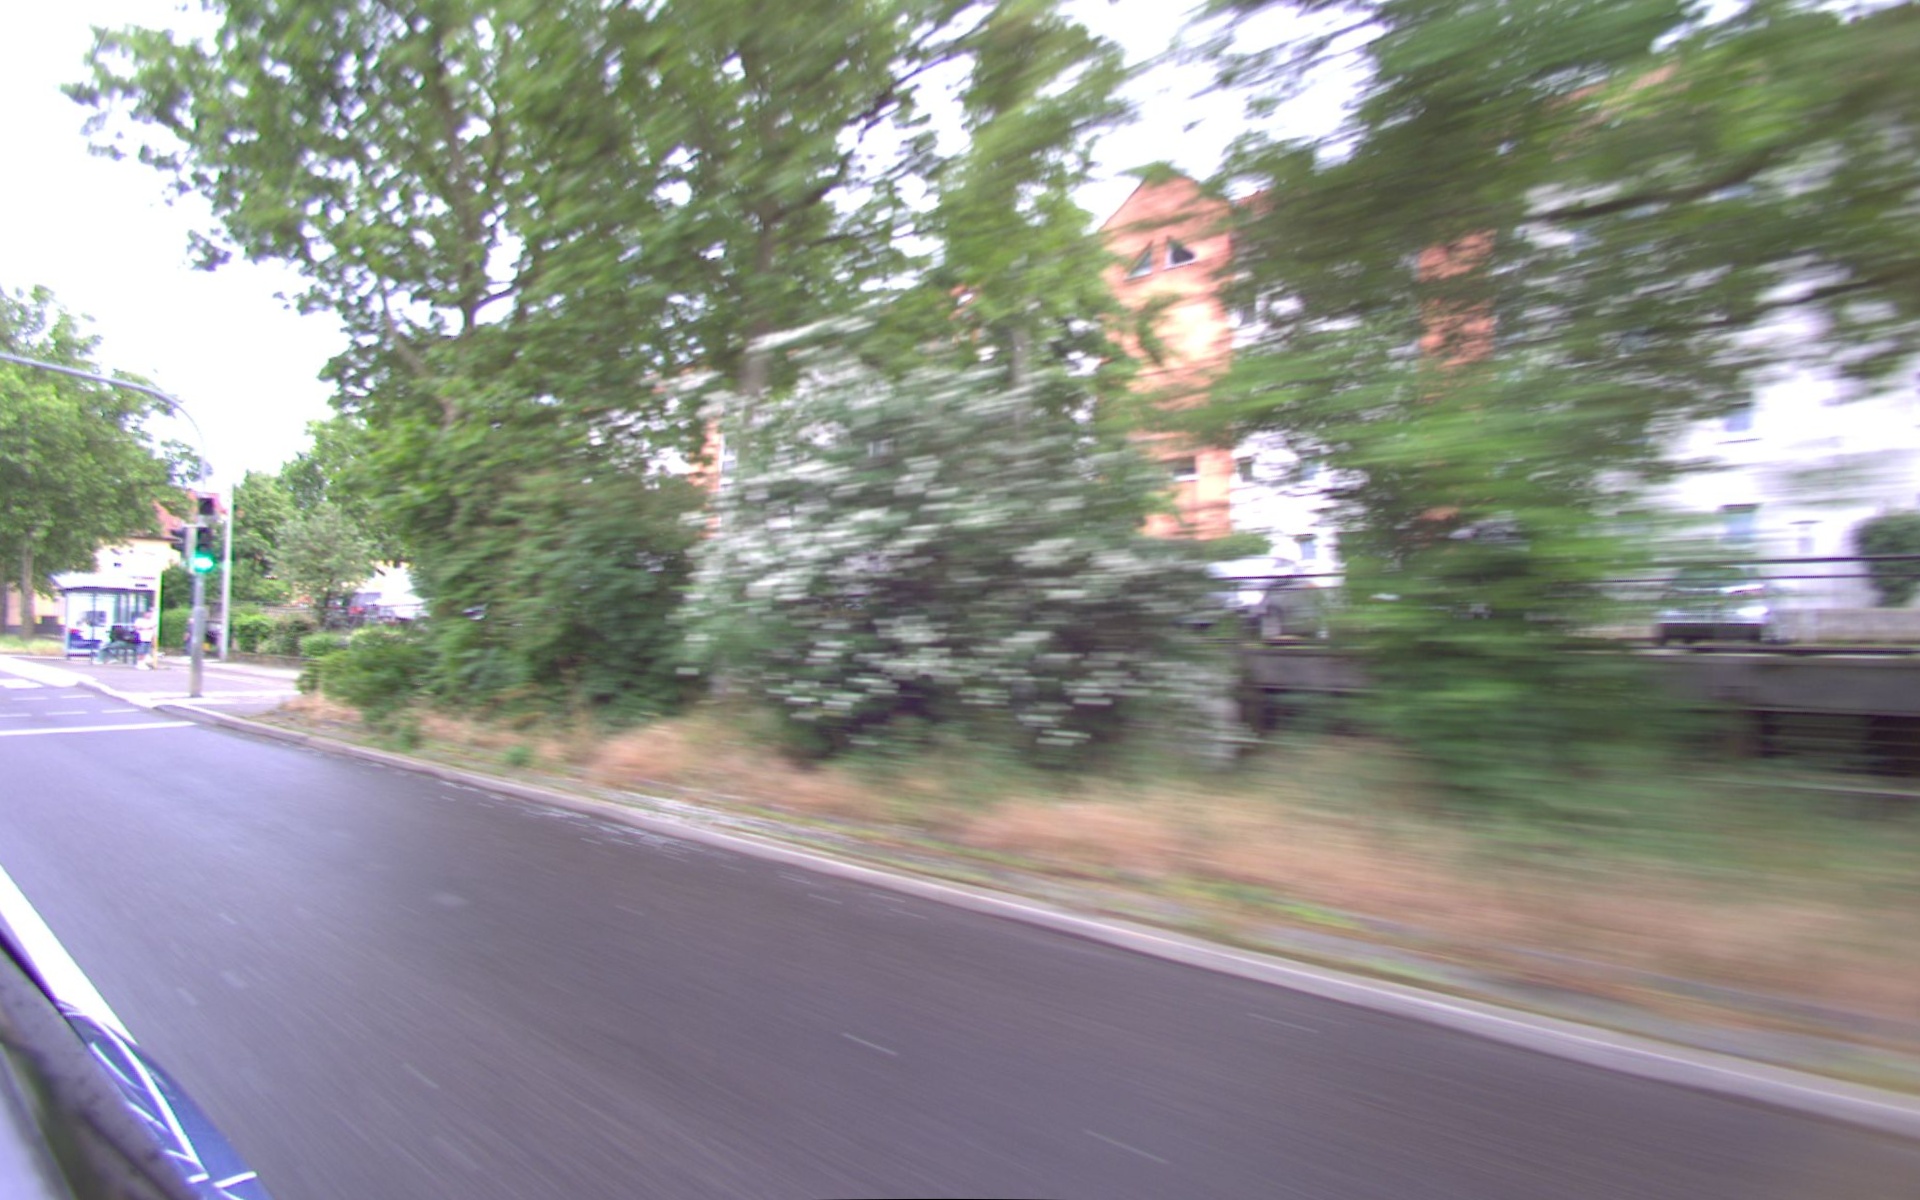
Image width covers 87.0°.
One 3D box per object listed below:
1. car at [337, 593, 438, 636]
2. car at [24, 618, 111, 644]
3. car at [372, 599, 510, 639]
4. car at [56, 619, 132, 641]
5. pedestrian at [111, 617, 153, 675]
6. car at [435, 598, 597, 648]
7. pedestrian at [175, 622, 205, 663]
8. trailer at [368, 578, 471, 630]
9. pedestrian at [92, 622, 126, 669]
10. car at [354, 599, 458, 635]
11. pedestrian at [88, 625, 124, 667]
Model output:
[{"bbox_3d":[-22.019,0.538,38.972,1.436,1.554,3.098,1,0,40],"label":"car"},{"bbox_3d":[-60.782,2.064,68.958,1.980,1.550,4.166,1,1,39],"label":"car"},{"bbox_3d":[-18.614,0.650,36.429,1.809,1.312,4.046,1,0,40],"label":"car"},{"bbox_3d":[-63.145,2.150,73.820,1.958,1.509,4.054,-1,-1,43],"label":"car"},{"bbox_3d":[-24.129,1.345,29.490,0.607,1.610,0.733,1,-5,44],"label":"pedestrian"},{"bbox_3d":[-13.849,0.680,31.759,1.859,1.435,4.311,1,0,40],"label":"car"},{"bbox_3d":[-31.382,1.725,41.255,0.833,1.623,0.748,1,0,36],"label":"pedestrian"},{"bbox_3d":[-18.083,0.134,33.898,1.479,1.658,2.676,0,-1,41],"label":"trailer"},{"bbox_3d":[-27.297,1.461,32.453,0.641,1.429,0.680,1,-4,44],"label":"pedestrian"},{"bbox_3d":[-20.531,0.615,37.560,1.436,1.279,3.098,1,0,40],"label":"car"},{"bbox_3d":[-27.966,1.519,33.145,0.641,1.327,0.766,1,-3,44],"label":"pedestrian"}]
